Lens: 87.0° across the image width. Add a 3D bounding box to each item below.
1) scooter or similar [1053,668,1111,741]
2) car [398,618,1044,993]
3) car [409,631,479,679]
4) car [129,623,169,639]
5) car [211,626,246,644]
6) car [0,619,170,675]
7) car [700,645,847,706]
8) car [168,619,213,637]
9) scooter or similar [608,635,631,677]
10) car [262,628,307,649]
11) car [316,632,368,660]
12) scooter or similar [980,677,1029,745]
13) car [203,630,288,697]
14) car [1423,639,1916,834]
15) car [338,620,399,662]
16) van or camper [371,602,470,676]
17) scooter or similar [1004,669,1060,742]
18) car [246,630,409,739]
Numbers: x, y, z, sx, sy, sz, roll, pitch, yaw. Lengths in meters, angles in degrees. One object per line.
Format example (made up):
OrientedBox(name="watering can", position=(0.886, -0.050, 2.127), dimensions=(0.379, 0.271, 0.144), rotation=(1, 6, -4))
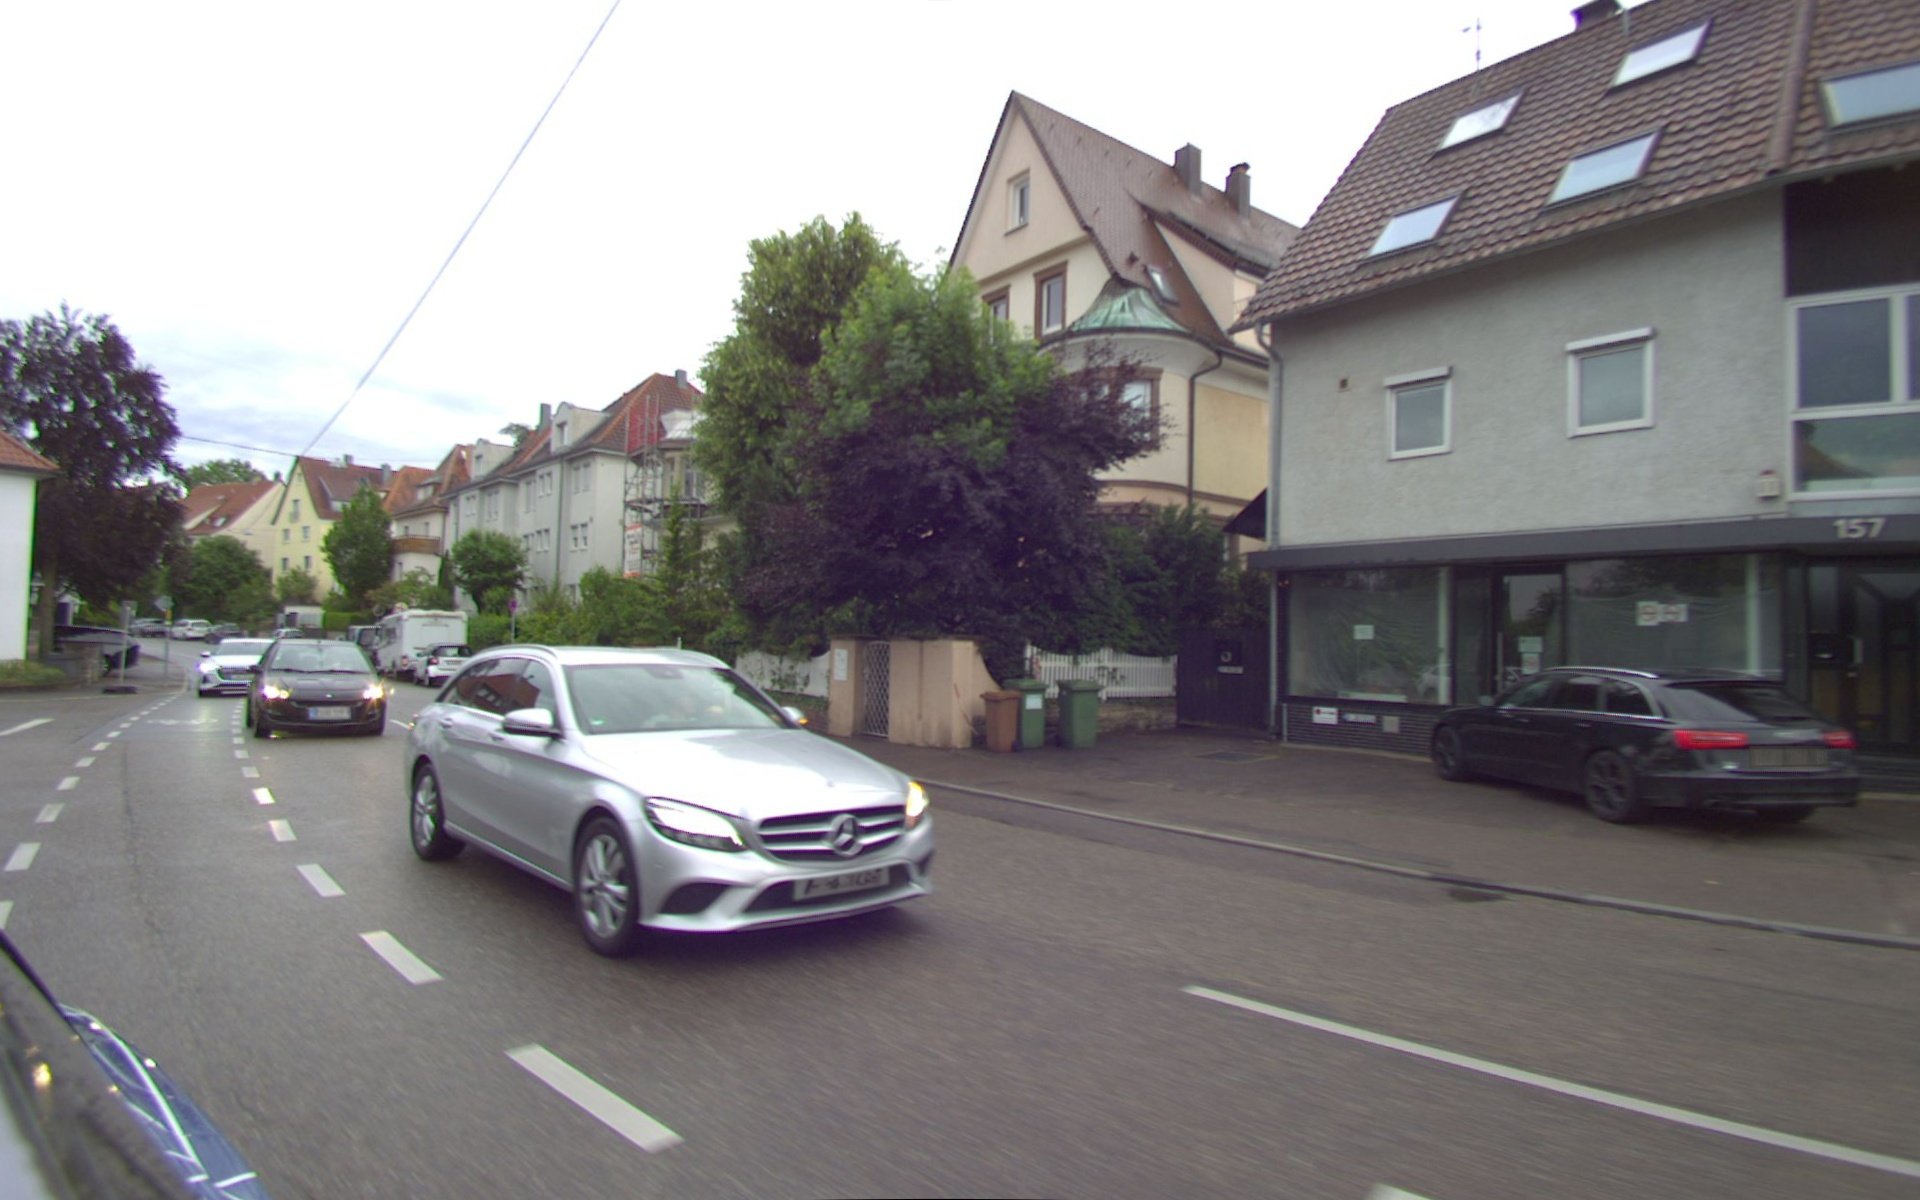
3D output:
OrientedBox(name="scooter or similar", position=(1.920, 1.638, 15.975), dimensions=(0.599, 1.070, 0.766), rotation=(1, -1, -22))
OrientedBox(name="car", position=(-1.797, 0.947, 6.374), dimensions=(1.970, 1.491, 4.490), rotation=(3, -5, -43))
OrientedBox(name="car", position=(-18.541, 1.942, 36.298), dimensions=(1.574, 1.607, 3.324), rotation=(3, -3, -38))
OrientedBox(name="car", position=(-72.051, 2.775, 89.920), dimensions=(4.428, 1.383, 1.660), rotation=(-1, -2, 36))
OrientedBox(name="car", position=(-56.816, 2.711, 78.566), dimensions=(3.441, 1.383, 1.656), rotation=(-1, -2, 44))
OrientedBox(name="car", position=(-33.032, 1.806, 38.405), dimensions=(4.669, 1.823, 1.946), rotation=(6, -5, -38))
OrientedBox(name="car", position=(-5.088, 2.116, 27.783), dimensions=(3.533, 1.553, 1.714), rotation=(4, -6, -35))
OrientedBox(name="car", position=(-63.805, 2.296, 83.905), dimensions=(4.428, 1.383, 1.660), rotation=(-1, -5, 36))
OrientedBox(name="scooter or similar", position=(-10.020, 1.627, 29.760), dimensions=(0.396, 1.197, 1.144), rotation=(1, -2, -31))
OrientedBox(name="car", position=(-45.825, 2.586, 68.609), dimensions=(3.438, 1.383, 1.658), rotation=(-1, -2, 40))
OrientedBox(name="car", position=(-35.170, 2.577, 57.533), dimensions=(1.655, 1.383, 4.516), rotation=(1, -1, -43))
OrientedBox(name="scooter or similar", position=(0.673, 1.686, 15.476), dimensions=(0.535, 0.973, 0.594), rotation=(1, -1, -22))
OrientedBox(name="car", position=(-20.106, 1.713, 28.606), dimensions=(1.766, 1.712, 3.902), rotation=(1, -1, -32))
OrientedBox(name="car", position=(6.944, 1.218, 10.720), dimensions=(1.778, 1.506, 4.684), rotation=(-1, -1, -1))
OrientedBox(name="car", position=(-30.087, 2.037, 51.443), dimensions=(1.809, 2.003, 4.587), rotation=(1, -2, -41))
OrientedBox(name="van or camper", position=(-21.724, 1.545, 40.628), dimensions=(2.318, 2.746, 6.128), rotation=(3, -3, -39))
OrientedBox(name="scooter or similar", position=(1.128, 1.639, 15.914), dimensions=(0.599, 1.070, 0.766), rotation=(1, -1, -22))
OrientedBox(name="car", position=(-10.069, 1.225, 15.992), dimensions=(1.869, 1.475, 3.690), rotation=(1, -2, -37))
